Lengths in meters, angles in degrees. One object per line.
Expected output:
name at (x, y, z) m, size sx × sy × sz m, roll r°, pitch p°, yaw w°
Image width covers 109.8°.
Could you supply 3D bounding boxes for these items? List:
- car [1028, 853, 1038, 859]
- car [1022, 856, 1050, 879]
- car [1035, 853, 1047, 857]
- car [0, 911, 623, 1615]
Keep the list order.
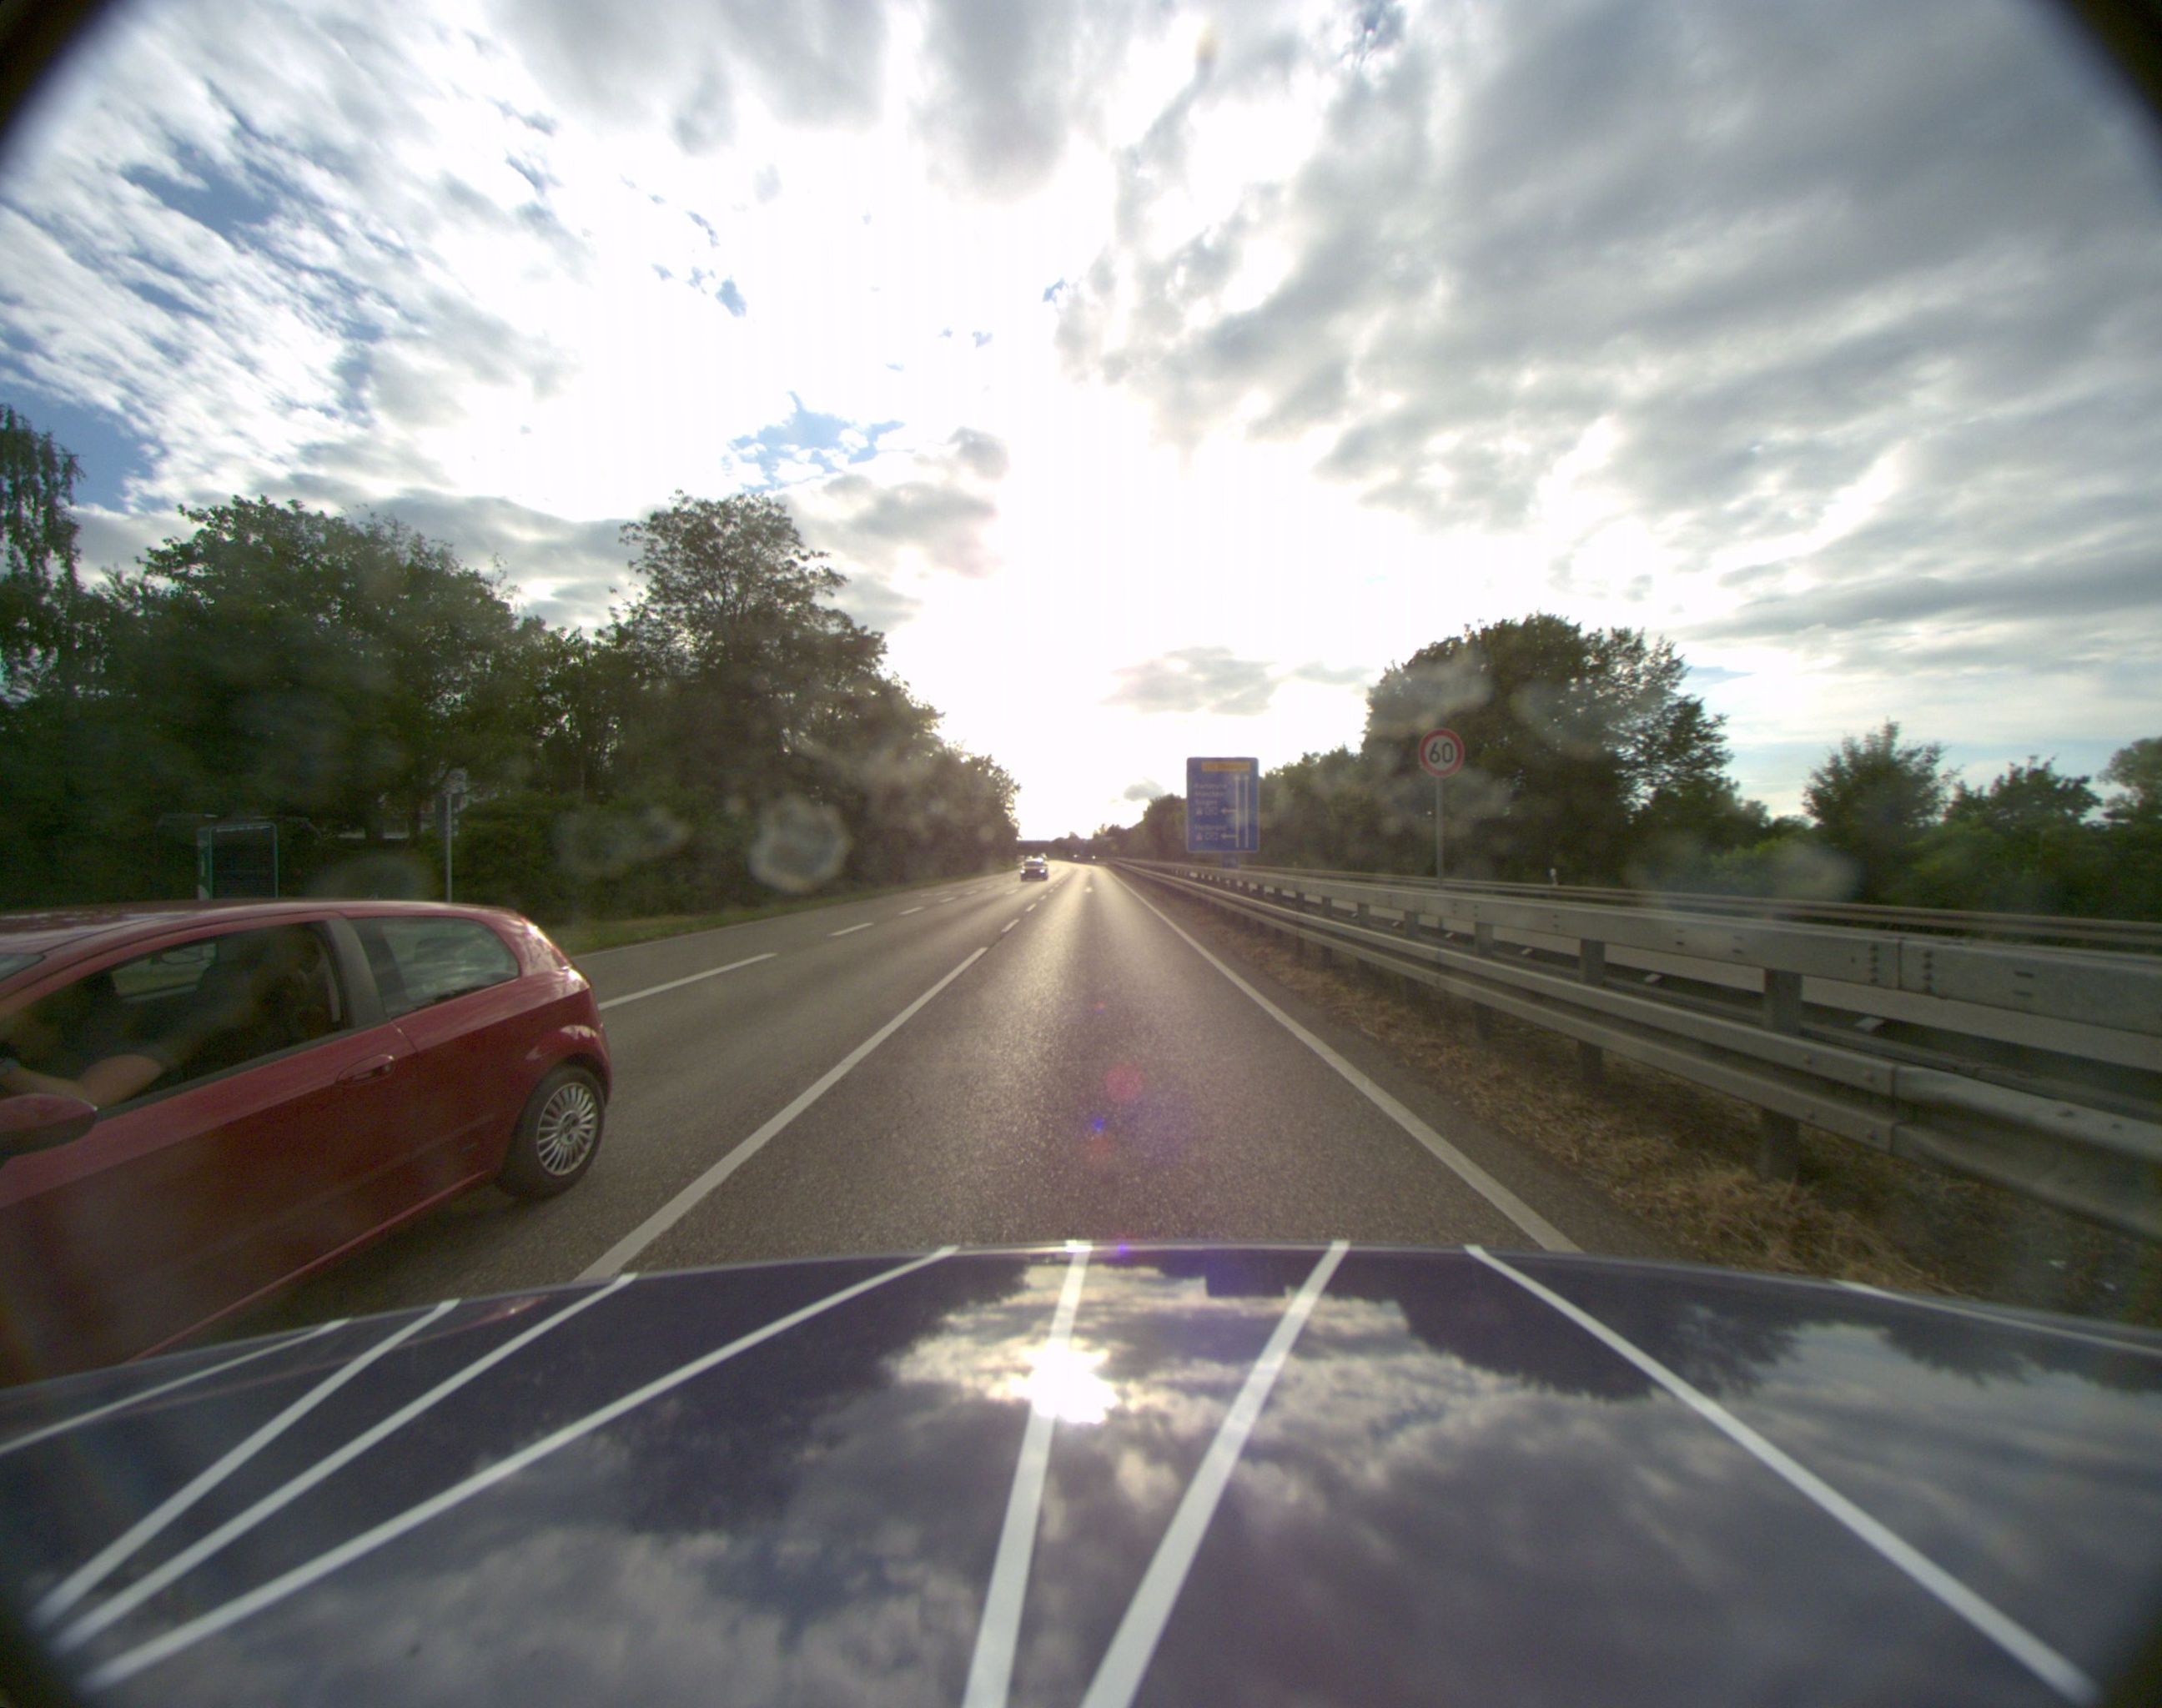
car at (-11.814, 0.394, 187.074) m, size 1.998 × 1.486 × 4.000 m, roll 0°, pitch 0°, yaw 1°
car at (-3.107, 0.912, 53.069) m, size 1.700 × 1.407 × 3.999 m, roll -2°, pitch 0°, yaw 0°
car at (-13.520, 0.373, 256.066) m, size 3.999 × 1.486 × 1.999 m, roll 0°, pitch 0°, yaw -6°
car at (-3.316, 1.045, 2.067) m, size 1.667 × 1.424 × 3.994 m, roll -2°, pitch 0°, yaw 0°
